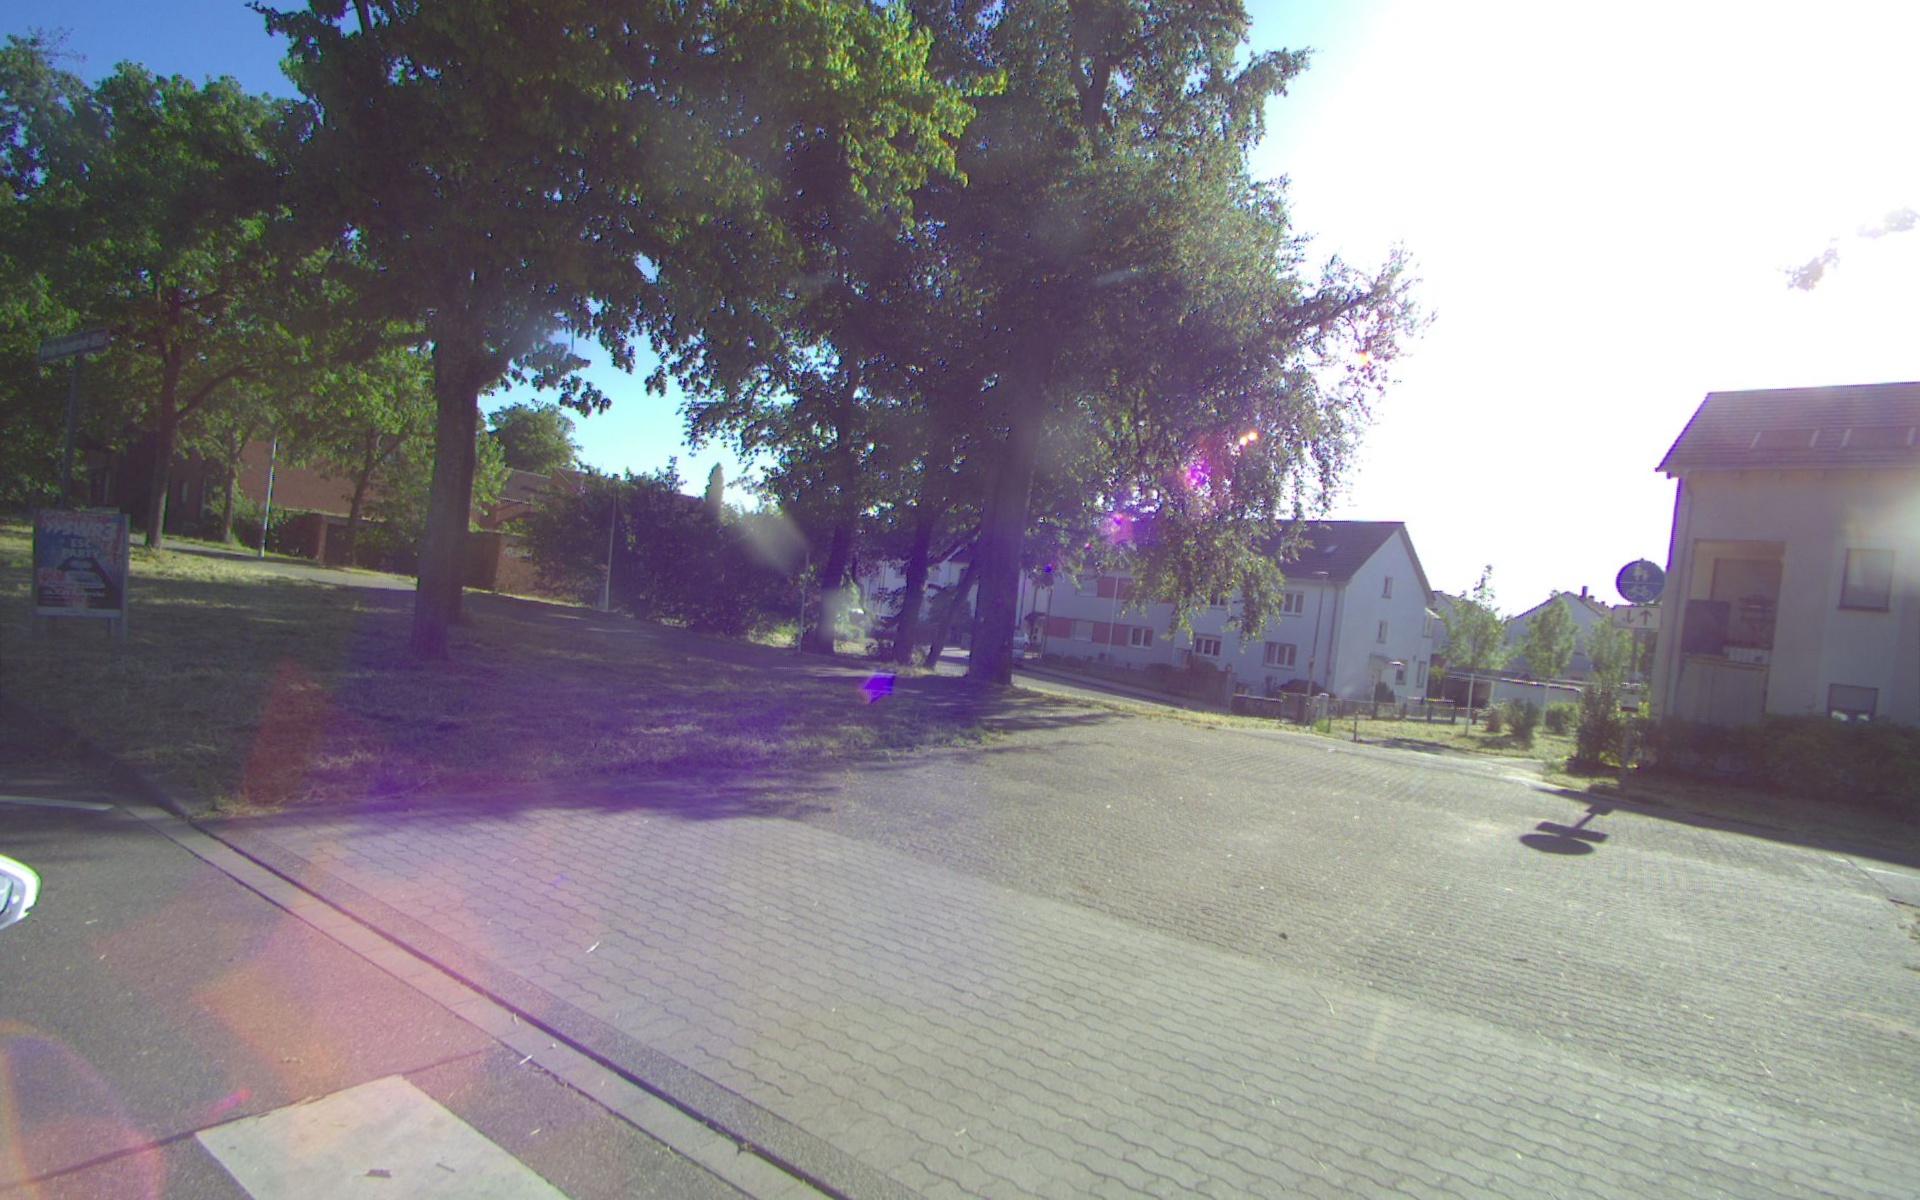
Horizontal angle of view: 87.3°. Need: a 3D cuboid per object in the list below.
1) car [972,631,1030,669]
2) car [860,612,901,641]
[{"bbox_3d":[2.135,2.625,53.046,1.513,1.570,3.160,8,-1,-29],"label":"car"},{"bbox_3d":[-5.574,1.827,70.181,1.786,1.635,3.623,8,-1,-21],"label":"car"}]
